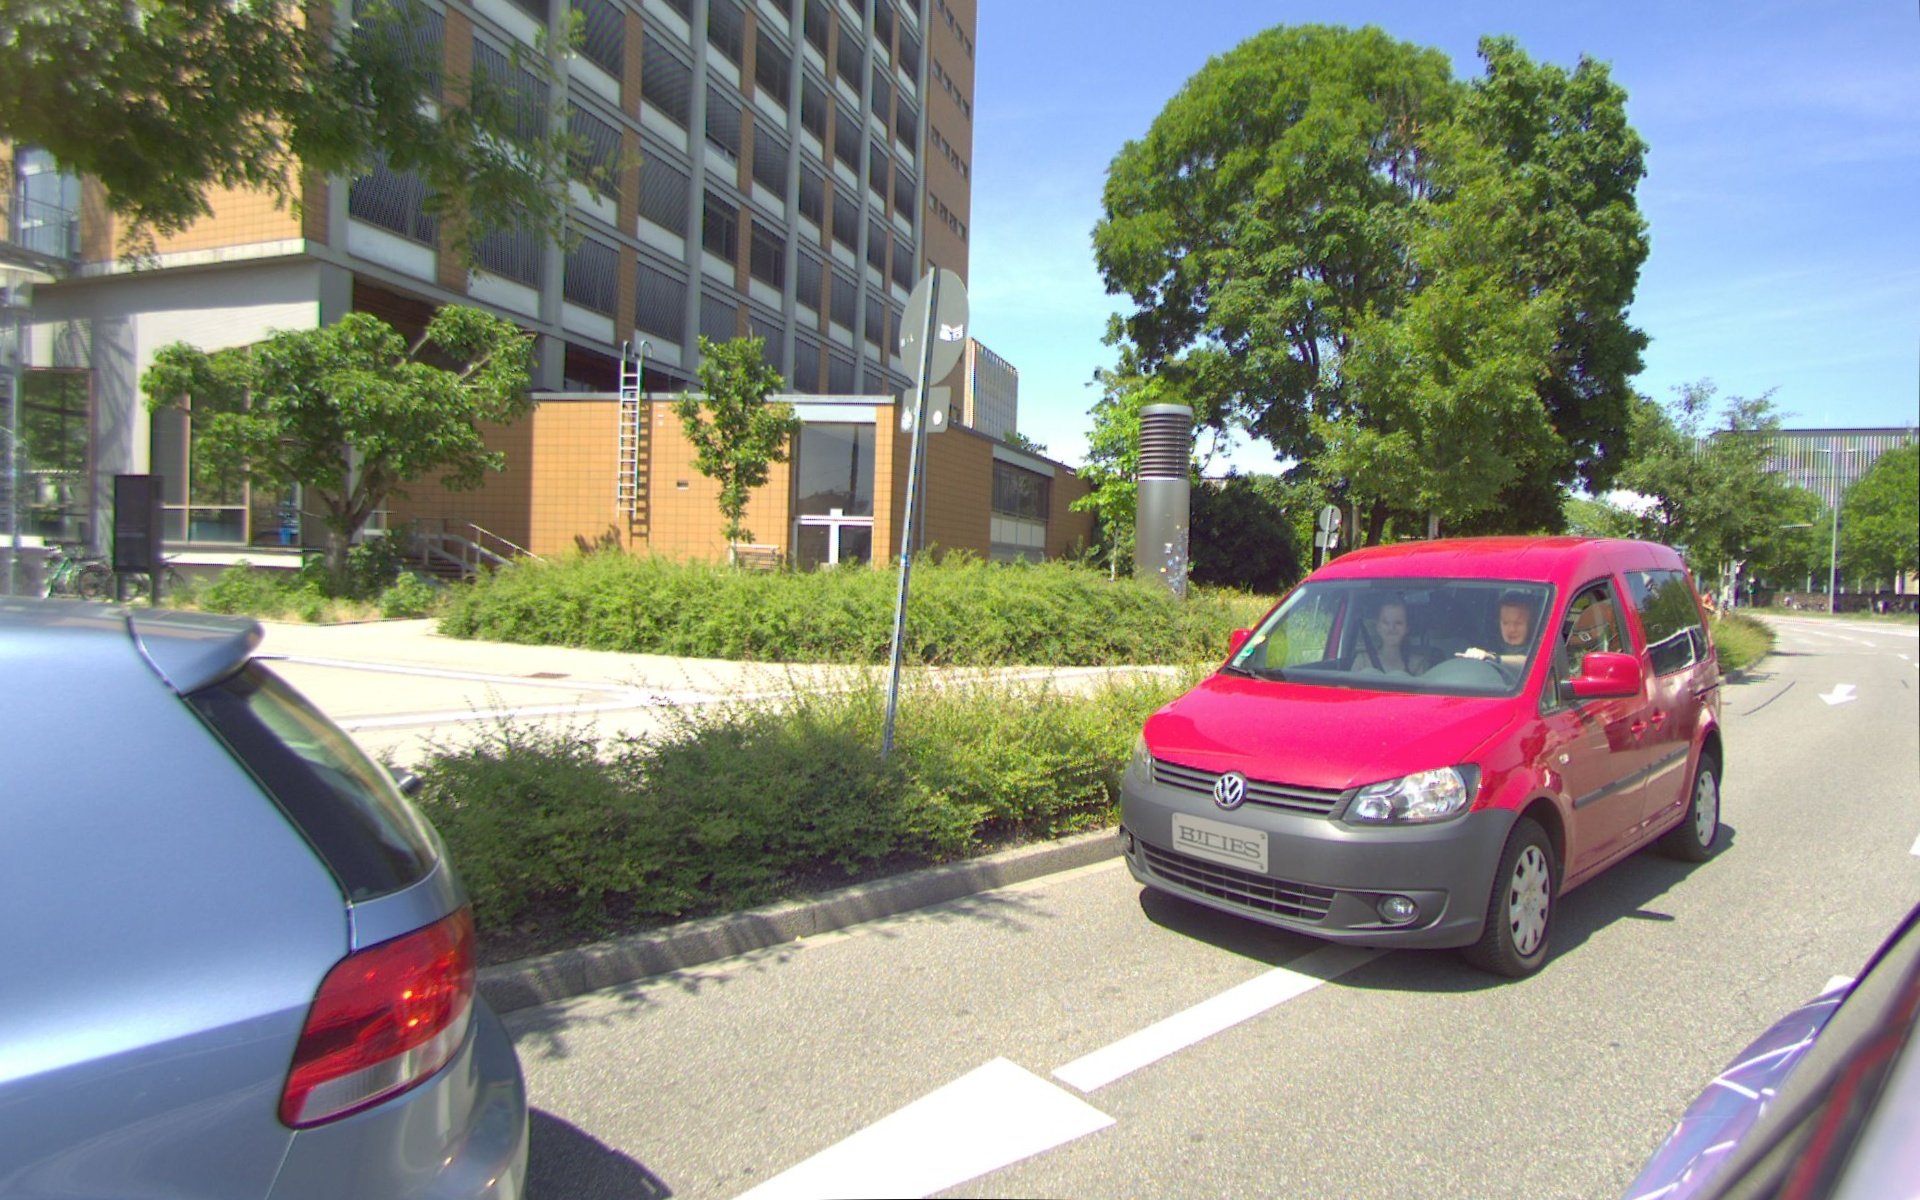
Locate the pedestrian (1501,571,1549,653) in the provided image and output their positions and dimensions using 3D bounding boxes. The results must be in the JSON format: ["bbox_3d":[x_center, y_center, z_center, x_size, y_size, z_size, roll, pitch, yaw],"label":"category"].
[{"bbox_3d":[12.802,0.254,22.941,0.603,1.820,0.728,1,1,-40],"label":"pedestrian"}]

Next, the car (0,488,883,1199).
[{"bbox_3d":[-2.151,0.614,1.104,3.934,1.477,1.654,0,0,-41],"label":"car"}]

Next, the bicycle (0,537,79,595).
[{"bbox_3d":[-20.760,-0.733,22.134,0.630,1.233,2.201,0,0,22],"label":"bicycle"}]

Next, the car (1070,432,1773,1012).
[{"bbox_3d":[2.732,0.384,5.373,4.465,1.882,1.654,0,1,-41],"label":"car"}]

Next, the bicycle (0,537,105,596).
[{"bbox_3d":[-20.021,-0.700,21.968,0.630,1.233,2.202,0,0,22],"label":"bicycle"}]

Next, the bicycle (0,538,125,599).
[{"bbox_3d":[-19.338,-0.646,21.687,0.630,1.233,2.202,0,0,22],"label":"bicycle"}]
